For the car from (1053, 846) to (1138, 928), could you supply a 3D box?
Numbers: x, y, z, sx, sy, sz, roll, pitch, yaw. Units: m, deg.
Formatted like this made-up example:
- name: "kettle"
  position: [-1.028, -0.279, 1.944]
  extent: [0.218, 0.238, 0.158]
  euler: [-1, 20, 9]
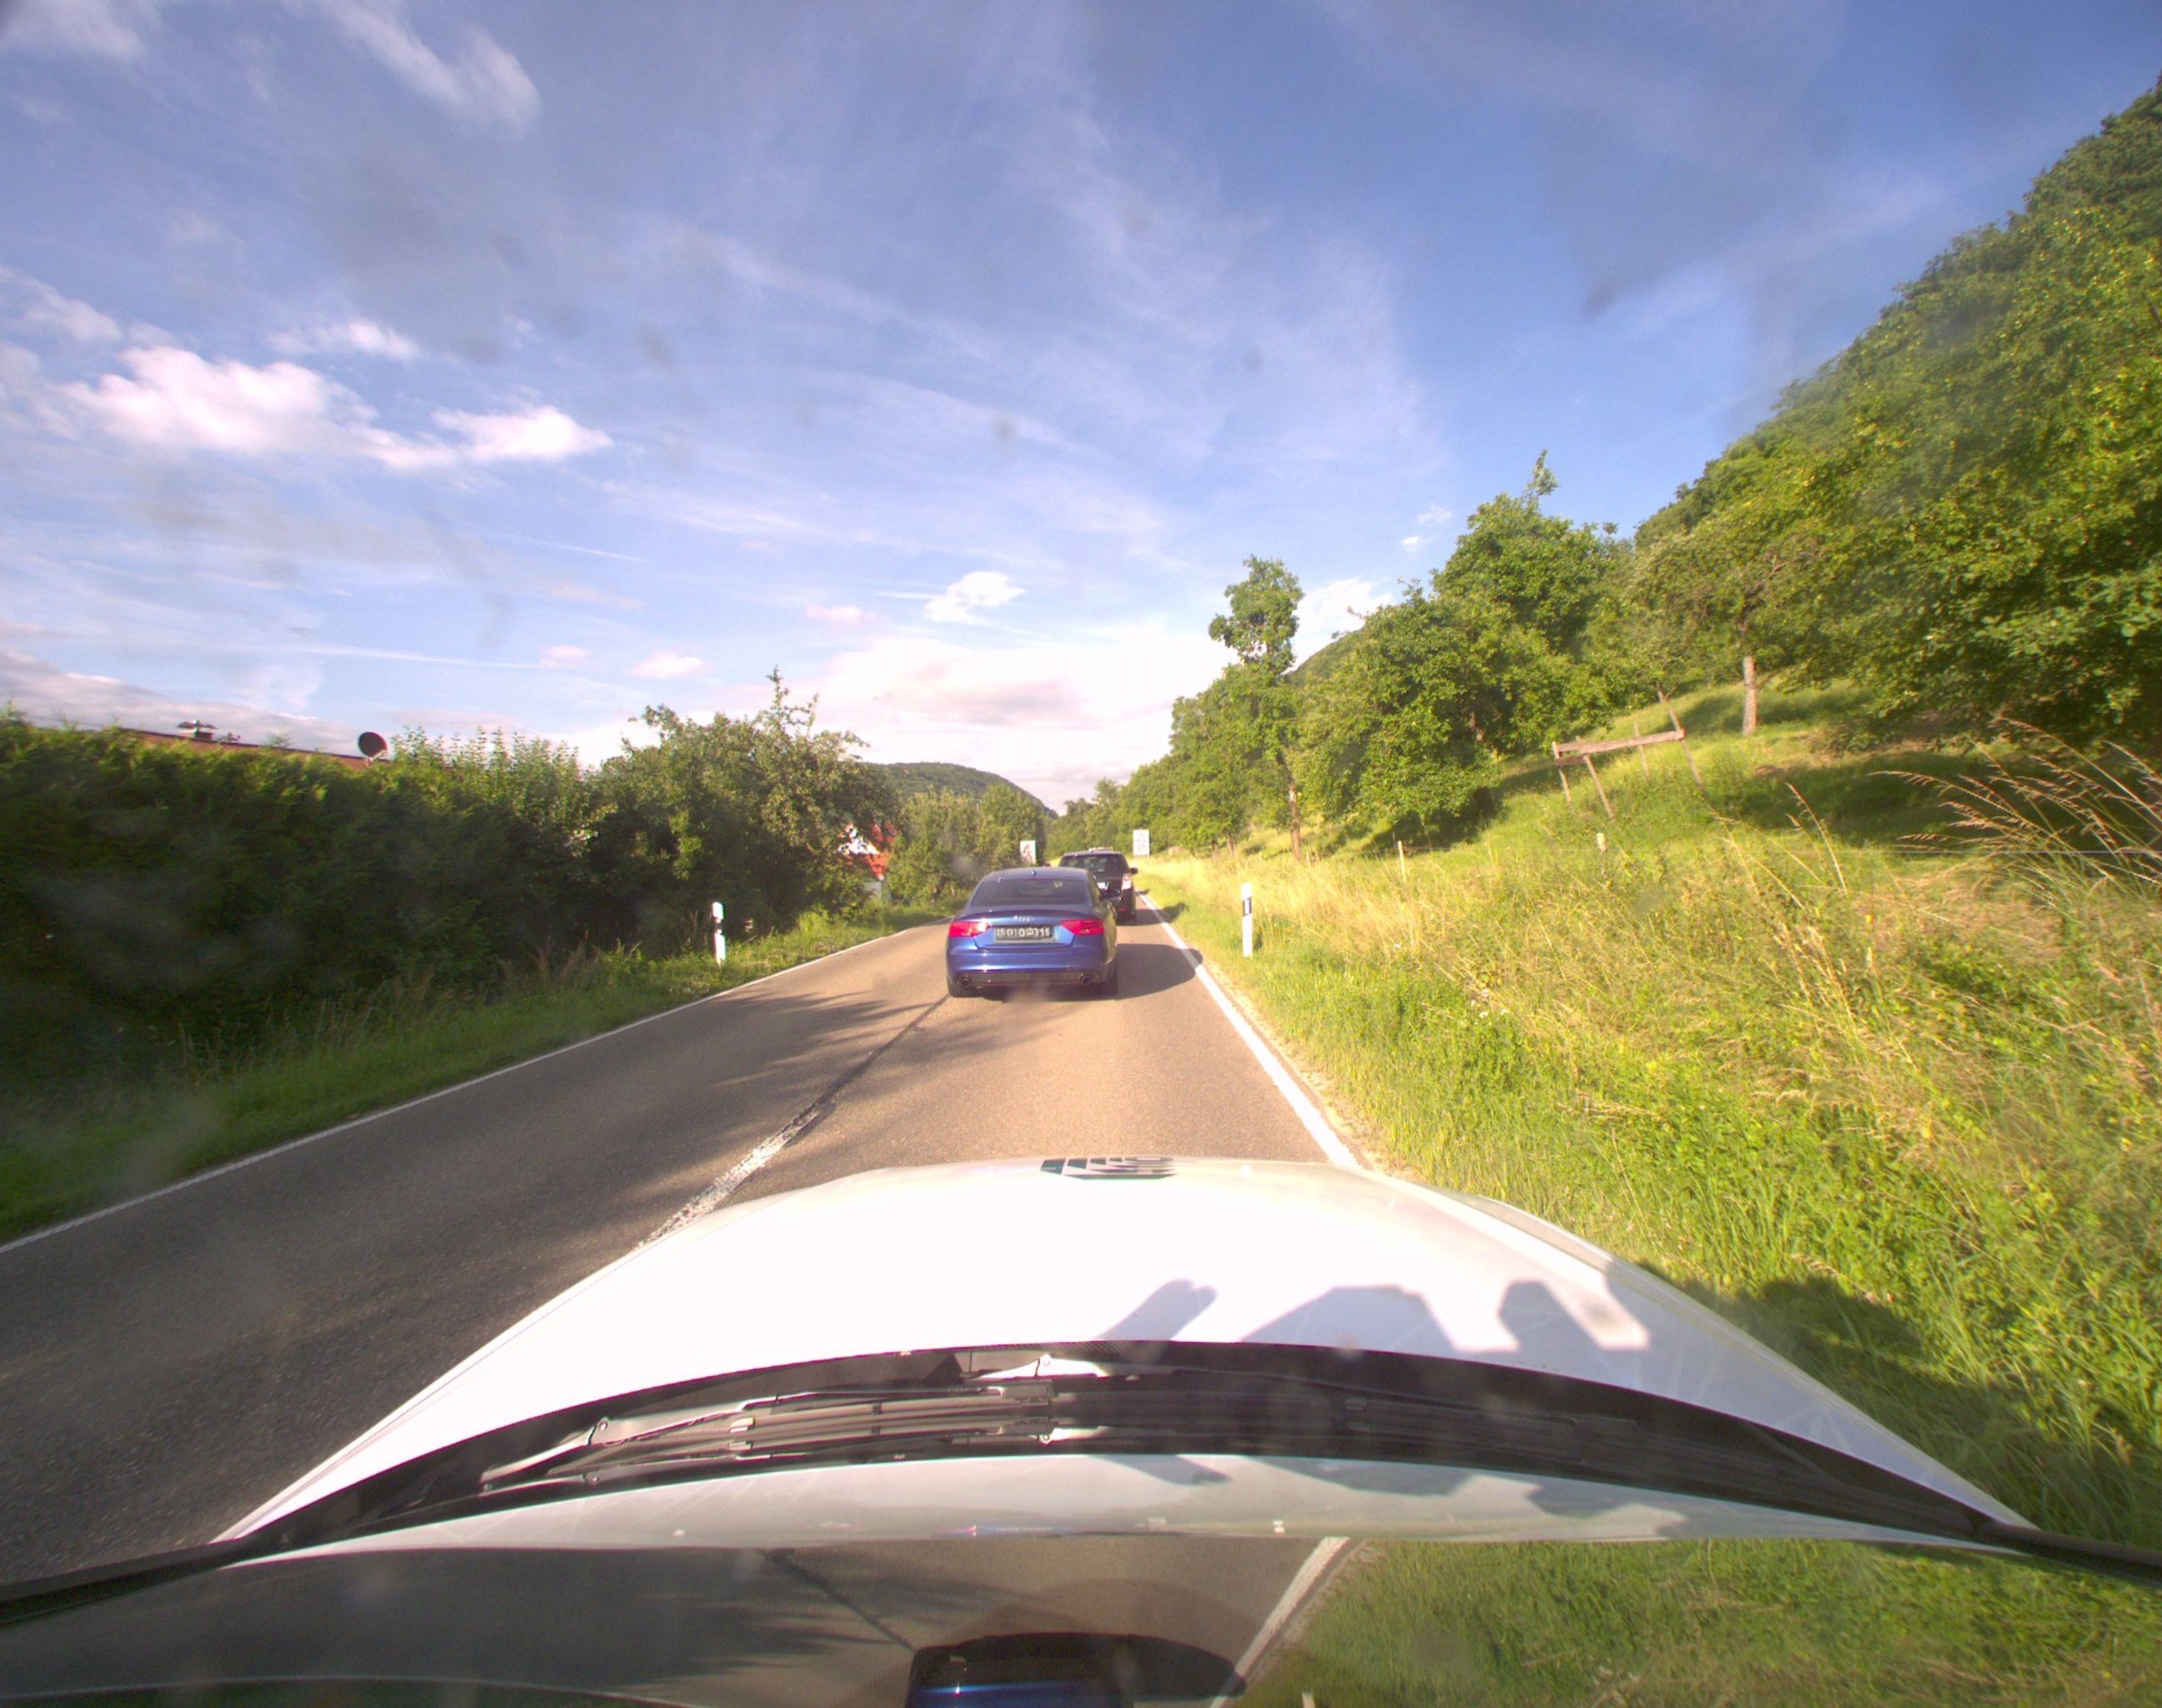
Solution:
- name: "car"
  position: [0.345, 0.664, 18.355]
  extent: [1.686, 1.624, 3.790]
  euler: [-1, 0, 2]

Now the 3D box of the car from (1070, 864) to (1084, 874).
- name: "car"
  position: [-0.595, 2.283, 124.577]
  extent: [1.745, 1.496, 3.770]
  euler: [0, 0, -6]

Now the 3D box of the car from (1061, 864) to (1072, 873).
- name: "car"
  position: [-2.466, 2.518, 139.168]
  extent: [1.557, 1.496, 3.769]
  euler: [0, 0, -7]

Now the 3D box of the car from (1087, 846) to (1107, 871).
- name: "car"
  position: [1.574, 0.451, 81.086]
  extent: [1.787, 2.453, 3.917]
  euler: [0, 0, -1]

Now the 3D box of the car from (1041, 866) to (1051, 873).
- name: "car"
  position: [-7.328, 3.197, 168.948]
  extent: [1.559, 1.496, 3.764]
  euler: [0, 0, -10]

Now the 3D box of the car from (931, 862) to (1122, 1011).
- name: "car"
  position: [-0.443, 0.812, 9.900]
  extent: [1.799, 1.382, 4.217]
  euler: [-2, -1, 2]

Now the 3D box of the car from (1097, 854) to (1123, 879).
- name: "car"
  position: [2.002, 0.851, 56.129]
  extent: [1.686, 1.624, 3.790]
  euler: [-1, 0, 2]

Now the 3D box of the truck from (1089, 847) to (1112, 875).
- name: "truck"
  position: [1.706, 0.587, 70.992]
  extent: [1.943, 2.345, 5.095]
  euler: [0, 0, 1]
